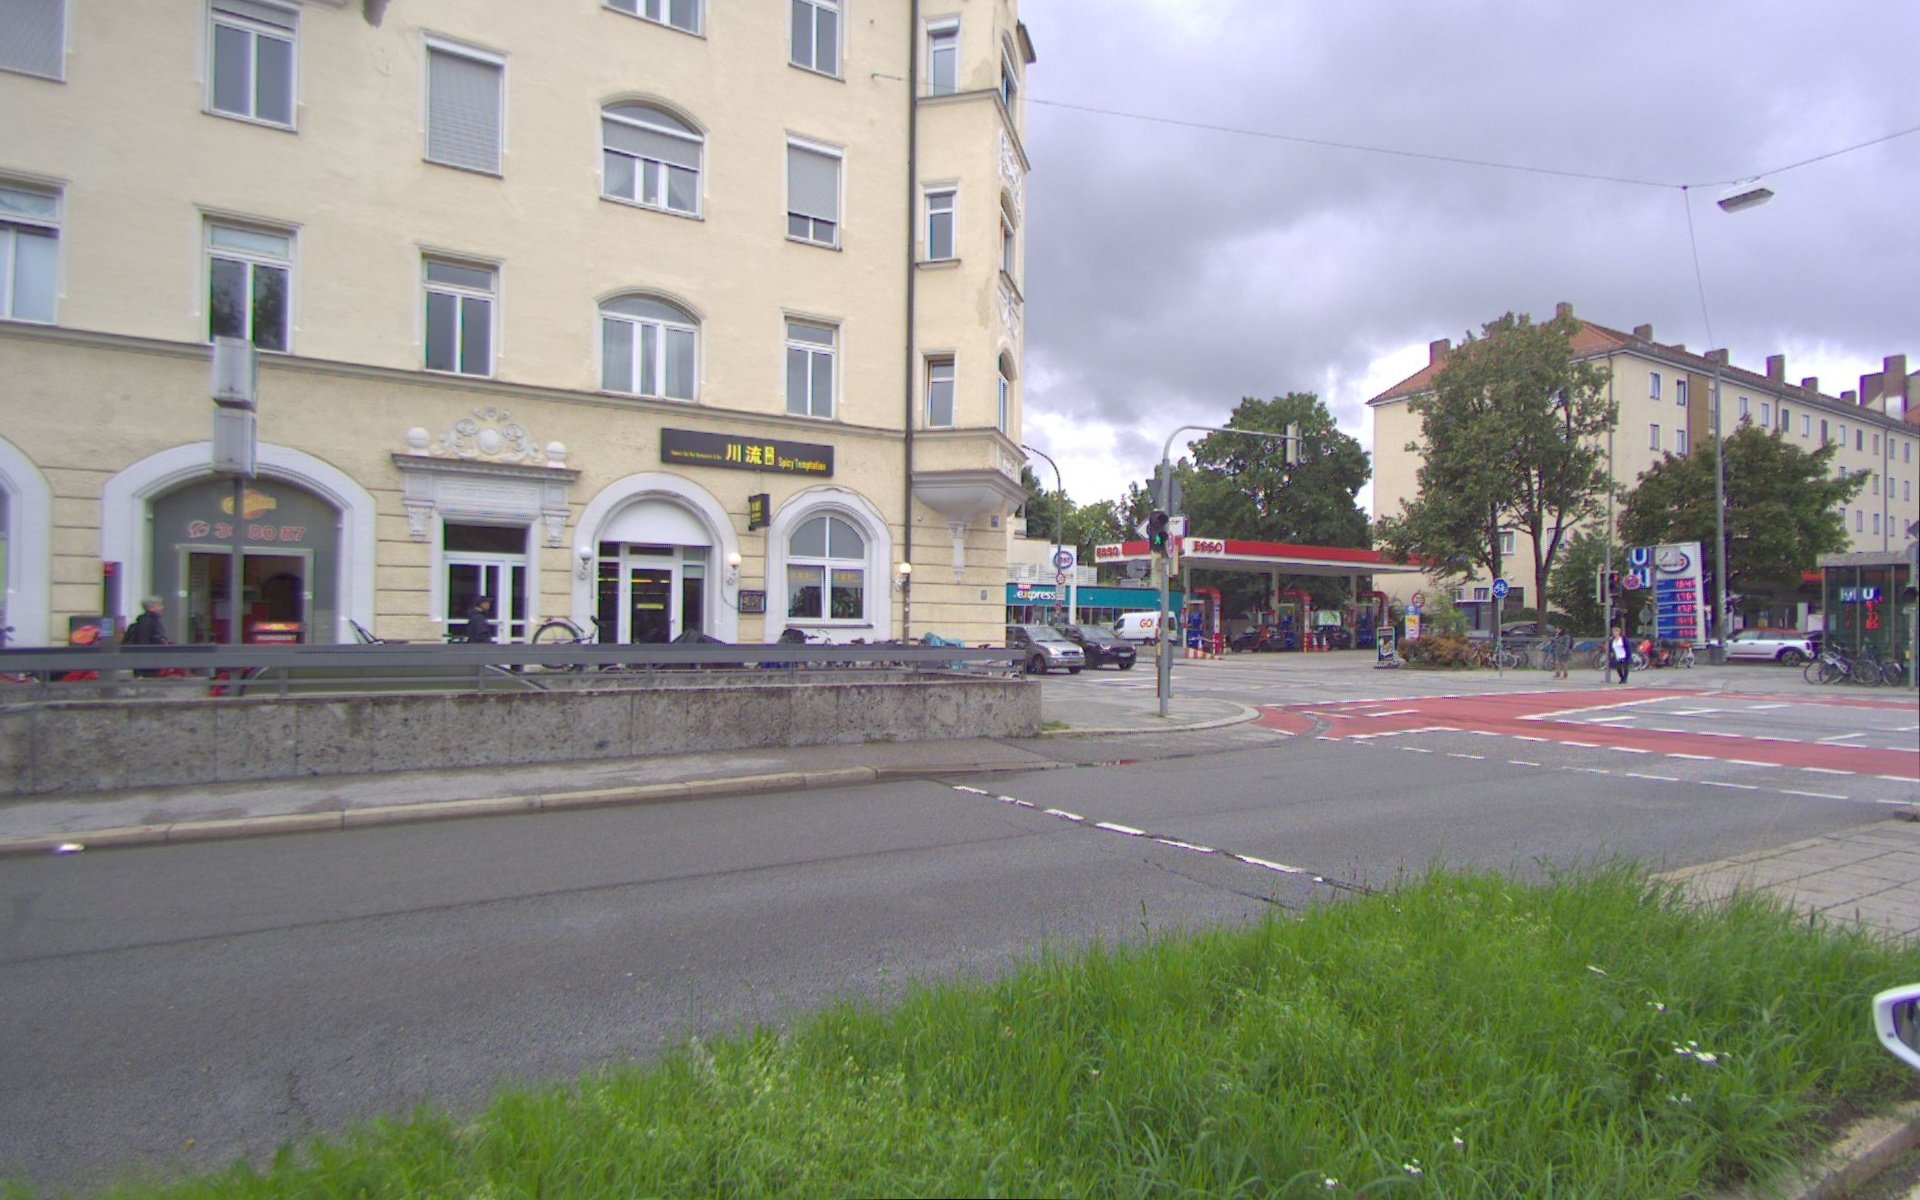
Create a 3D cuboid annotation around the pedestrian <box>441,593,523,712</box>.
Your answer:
[{"bbox_3d":[-7.175,0.766,15.089,0.585,1.719,0.940,0,-1,42],"label":"pedestrian"}]

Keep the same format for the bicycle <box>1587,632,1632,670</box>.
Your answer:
[{"bbox_3d":[22.457,1.750,34.732,2.167,1.252,0.603,1,-1,-37],"label":"bicycle"}]

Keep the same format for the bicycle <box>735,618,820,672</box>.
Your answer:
[{"bbox_3d":[-3.481,0.846,19.187,1.527,0.993,0.470,1,-1,-30],"label":"bicycle"}]

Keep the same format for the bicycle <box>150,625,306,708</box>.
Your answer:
[{"bbox_3d":[-9.163,0.820,12.641,1.527,0.993,0.470,1,-1,-30],"label":"bicycle"}]

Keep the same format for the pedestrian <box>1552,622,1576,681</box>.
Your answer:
[{"bbox_3d":[18.004,1.521,29.943,0.581,1.717,0.576,0,-1,29],"label":"pedestrian"}]

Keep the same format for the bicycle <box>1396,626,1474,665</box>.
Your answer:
[{"bbox_3d":[17.003,1.618,36.015,0.785,1.267,2.374,2,0,-40],"label":"bicycle"}]

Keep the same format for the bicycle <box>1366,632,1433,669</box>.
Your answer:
[{"bbox_3d":[15.930,1.820,36.457,0.759,1.252,2.162,1,-1,-39],"label":"bicycle"}]

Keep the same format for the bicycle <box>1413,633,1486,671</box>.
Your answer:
[{"bbox_3d":[16.946,1.784,34.816,0.760,1.252,2.161,1,-1,-41],"label":"bicycle"}]

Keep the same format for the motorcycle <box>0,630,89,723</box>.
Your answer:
[{"bbox_3d":[-12.596,0.975,13.204,1.946,1.137,0.610,1,-1,10],"label":"motorcycle"}]

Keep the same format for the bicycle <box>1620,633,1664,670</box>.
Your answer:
[{"bbox_3d":[23.479,1.761,34.578,2.167,1.252,0.603,1,-1,-37],"label":"bicycle"}]

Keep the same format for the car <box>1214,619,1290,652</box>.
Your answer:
[{"bbox_3d":[16.443,1.984,56.726,1.836,1.808,3.968,1,-1,-30],"label":"car"}]

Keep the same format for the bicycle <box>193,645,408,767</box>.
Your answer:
[{"bbox_3d":[-6.706,1.043,10.281,1.798,1.130,0.392,1,-1,-39],"label":"bicycle"}]

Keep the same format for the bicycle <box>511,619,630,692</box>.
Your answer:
[{"bbox_3d":[-5.545,0.773,14.333,1.527,0.993,0.470,1,-1,-30],"label":"bicycle"}]

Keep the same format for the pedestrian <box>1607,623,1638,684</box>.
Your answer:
[{"bbox_3d":[18.816,1.518,28.550,0.570,1.717,0.532,1,-1,-28],"label":"pedestrian"}]

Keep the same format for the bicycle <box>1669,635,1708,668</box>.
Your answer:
[{"bbox_3d":[26.830,1.882,36.977,1.947,1.160,0.603,1,-1,-37],"label":"bicycle"}]

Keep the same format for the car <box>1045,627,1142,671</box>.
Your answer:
[{"bbox_3d":[4.588,1.665,34.981,1.643,1.430,3.534,1,-1,-27],"label":"car"}]

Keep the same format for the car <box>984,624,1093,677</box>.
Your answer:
[{"bbox_3d":[2.459,1.572,32.176,1.646,1.537,3.599,1,-1,-32],"label":"car"}]

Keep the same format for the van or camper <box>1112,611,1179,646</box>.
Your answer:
[{"bbox_3d":[12.657,1.929,68.737,1.899,2.354,4.508,1,-1,-34],"label":"van or camper"}]

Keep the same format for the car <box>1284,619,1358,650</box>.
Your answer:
[{"bbox_3d":[21.779,2.051,60.757,1.836,1.808,3.968,1,-1,-30],"label":"car"}]

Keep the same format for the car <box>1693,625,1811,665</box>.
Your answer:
[{"bbox_3d":[34.208,1.903,43.525,3.903,1.630,1.810,0,-1,37],"label":"car"}]

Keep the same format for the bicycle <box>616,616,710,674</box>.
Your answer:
[{"bbox_3d":[-5.234,0.784,17.723,1.527,0.993,0.470,1,-1,-30],"label":"bicycle"}]

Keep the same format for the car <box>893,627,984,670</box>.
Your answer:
[{"bbox_3d":[-0.861,1.757,37.193,1.643,1.430,4.299,1,-1,-27],"label":"car"}]

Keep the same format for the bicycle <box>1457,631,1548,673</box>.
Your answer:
[{"bbox_3d":[18.486,1.755,34.249,2.664,1.267,0.792,2,0,30],"label":"bicycle"}]

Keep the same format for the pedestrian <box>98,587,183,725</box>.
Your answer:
[{"bbox_3d":[-10.548,0.712,12.951,0.762,1.719,0.540,1,-1,-32],"label":"pedestrian"}]

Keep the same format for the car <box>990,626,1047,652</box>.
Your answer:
[{"bbox_3d":[3.785,2.515,65.871,1.848,1.598,3.967,1,-1,-31],"label":"car"}]

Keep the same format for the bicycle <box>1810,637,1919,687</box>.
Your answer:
[{"bbox_3d":[25.908,1.754,28.784,0.685,1.322,2.275,1,-1,-28],"label":"bicycle"}]

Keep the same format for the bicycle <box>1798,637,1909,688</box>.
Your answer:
[{"bbox_3d":[25.235,1.739,28.411,0.695,1.322,2.262,1,-1,-28],"label":"bicycle"}]
